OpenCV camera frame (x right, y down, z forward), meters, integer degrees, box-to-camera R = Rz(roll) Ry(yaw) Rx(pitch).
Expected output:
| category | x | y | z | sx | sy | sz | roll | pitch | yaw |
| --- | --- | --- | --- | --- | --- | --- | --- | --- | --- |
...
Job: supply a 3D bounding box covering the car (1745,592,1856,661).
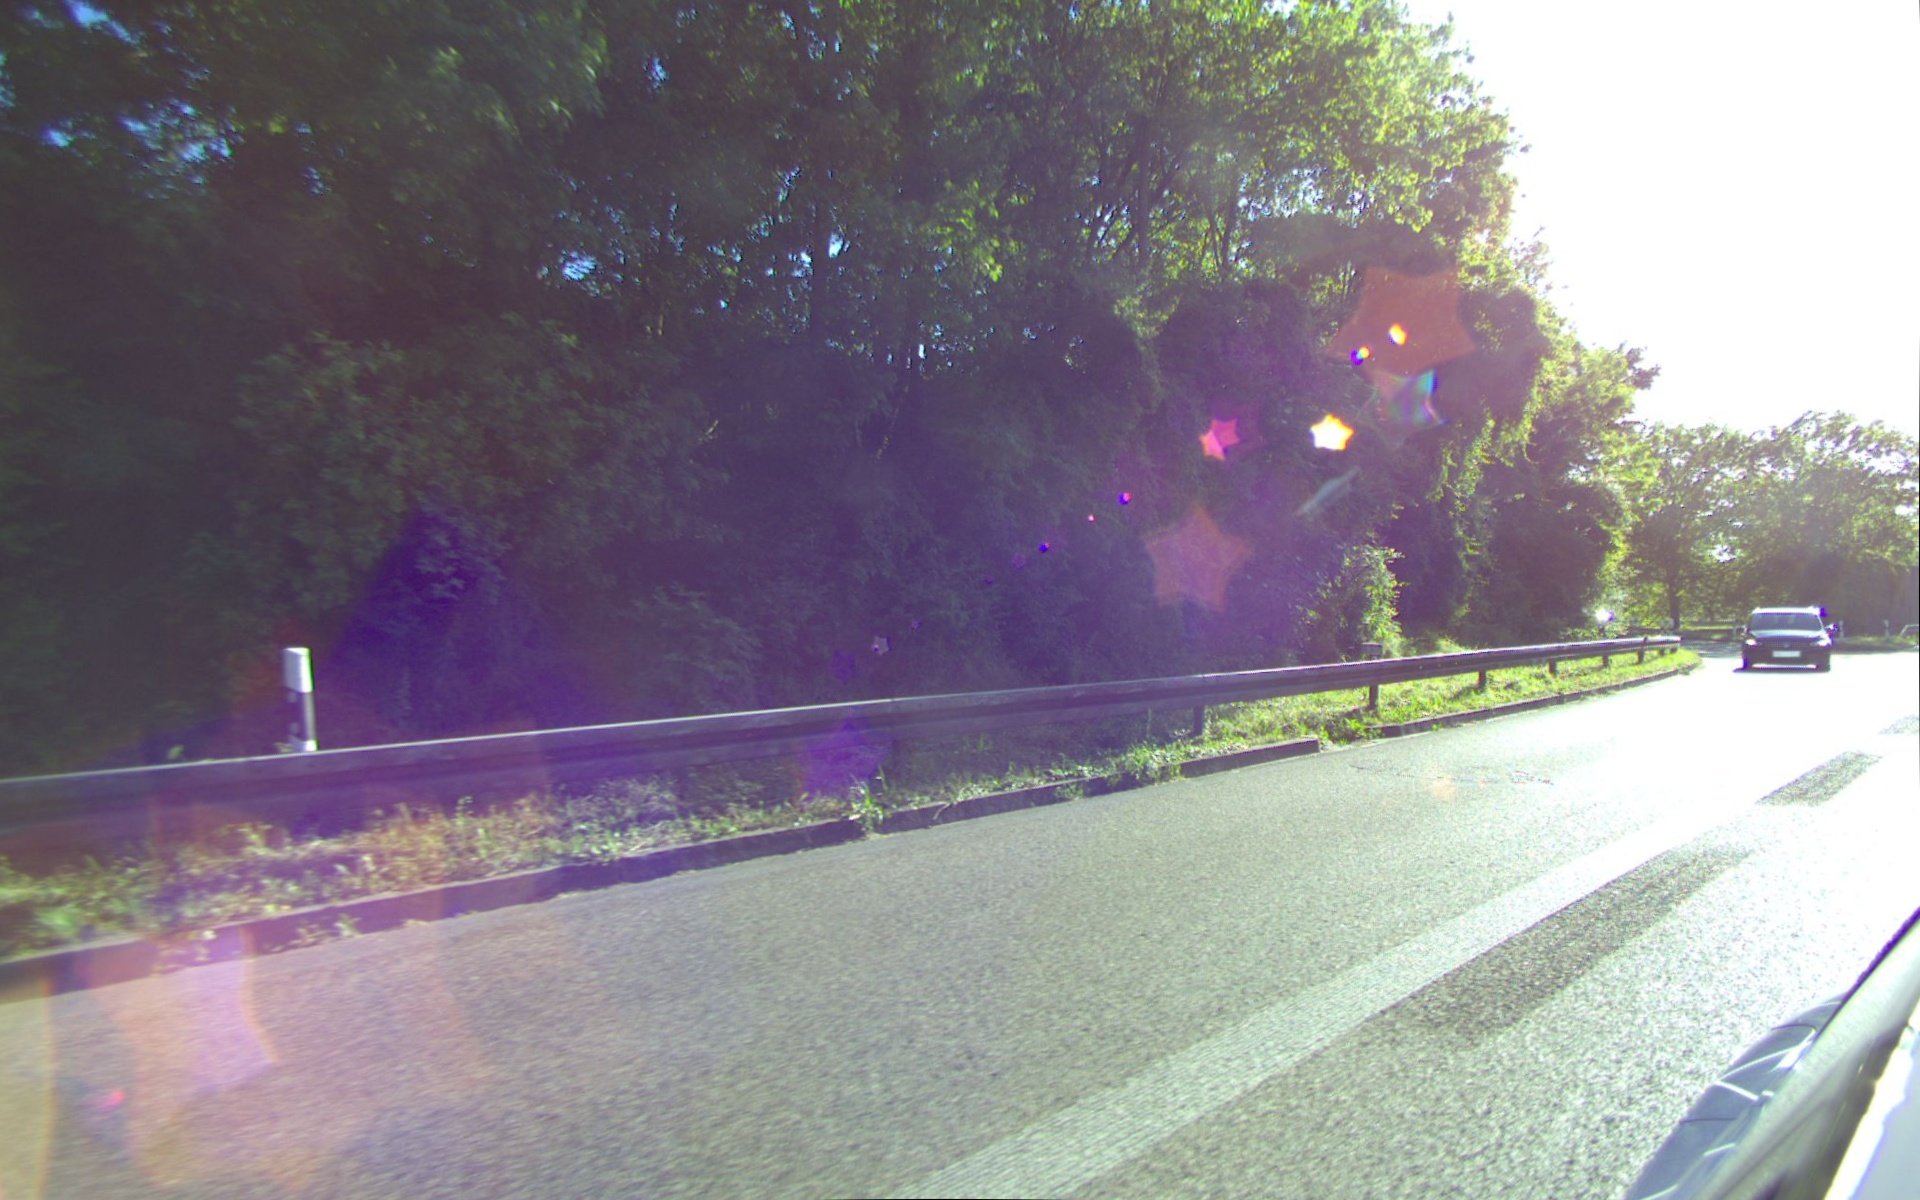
| category | x | y | z | sx | sy | sz | roll | pitch | yaw |
| --- | --- | --- | --- | --- | --- | --- | --- | --- | --- |
| car | 22.070 | 0.715 | 26.529 | 3.932 | 1.684 | 1.742 | 2 | -4 | -43 |
